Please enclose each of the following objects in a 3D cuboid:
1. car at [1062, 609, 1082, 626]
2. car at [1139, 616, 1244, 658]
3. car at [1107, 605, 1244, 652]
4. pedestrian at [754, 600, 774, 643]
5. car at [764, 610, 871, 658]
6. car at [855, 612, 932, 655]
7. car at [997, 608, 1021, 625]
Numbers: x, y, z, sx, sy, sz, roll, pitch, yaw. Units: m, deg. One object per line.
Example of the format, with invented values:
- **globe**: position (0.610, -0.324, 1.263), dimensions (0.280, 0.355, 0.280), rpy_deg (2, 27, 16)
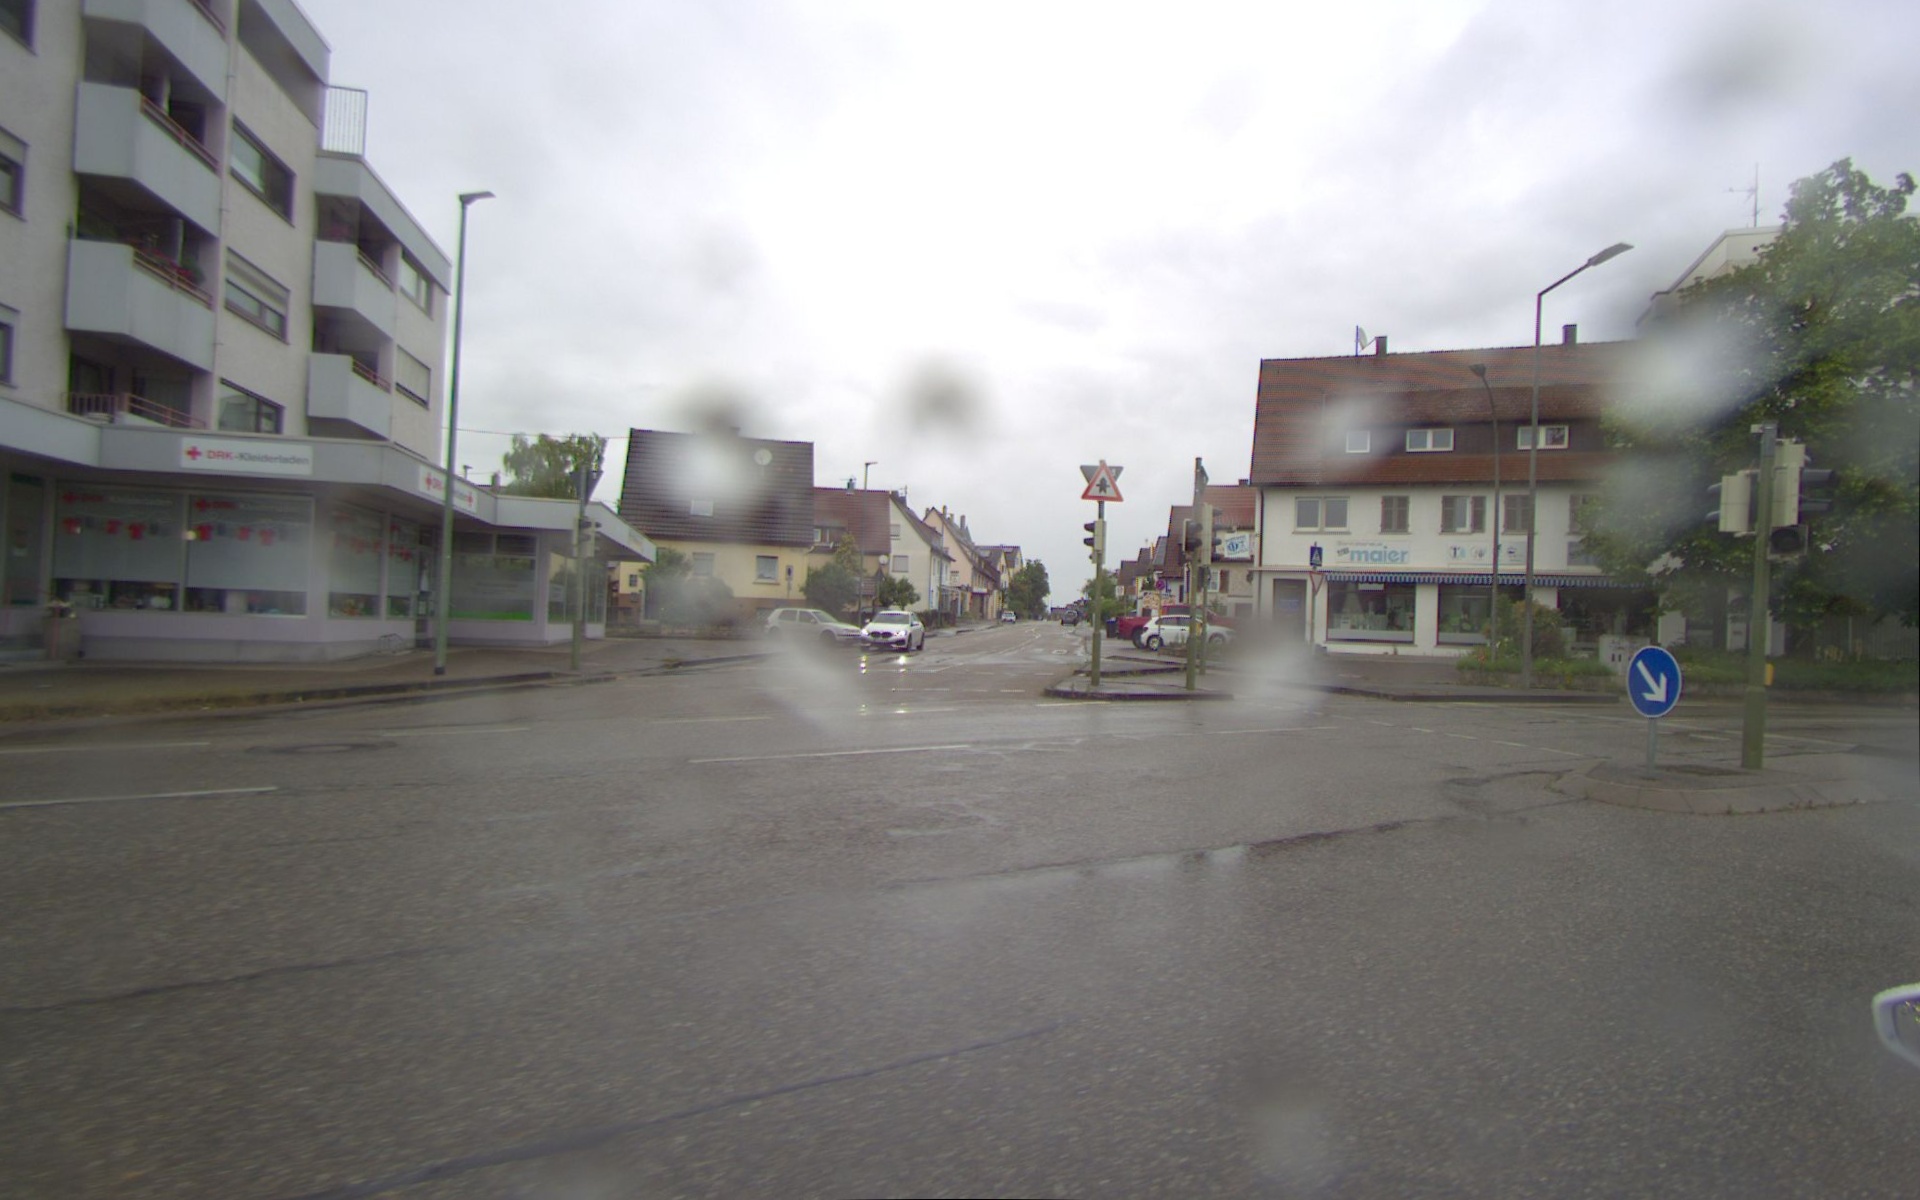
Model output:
- **car**: position (13.823, 2.179, 124.082), dimensions (1.959, 2.040, 4.003), rpy_deg (1, -1, 13)
- **car**: position (9.602, 1.507, 41.664), dimensions (3.924, 1.546, 1.999), rpy_deg (1, -1, 24)
- **car**: position (9.579, 1.244, 44.628), dimensions (5.735, 1.867, 2.001), rpy_deg (1, 0, 18)
- **pedestrian**: position (-8.791, 0.958, 45.108), dimensions (0.834, 1.882, 0.723), rpy_deg (1, 0, -11)
- **car**: position (-5.723, 1.321, 40.296), dimensions (3.845, 1.756, 1.833), rpy_deg (1, 0, 27)
- **car**: position (-2.387, 1.213, 37.204), dimensions (1.797, 1.453, 4.290), rpy_deg (1, -1, 11)
- **car**: position (6.246, 2.095, 127.226), dimensions (1.960, 2.040, 4.001), rpy_deg (1, 0, 18)
